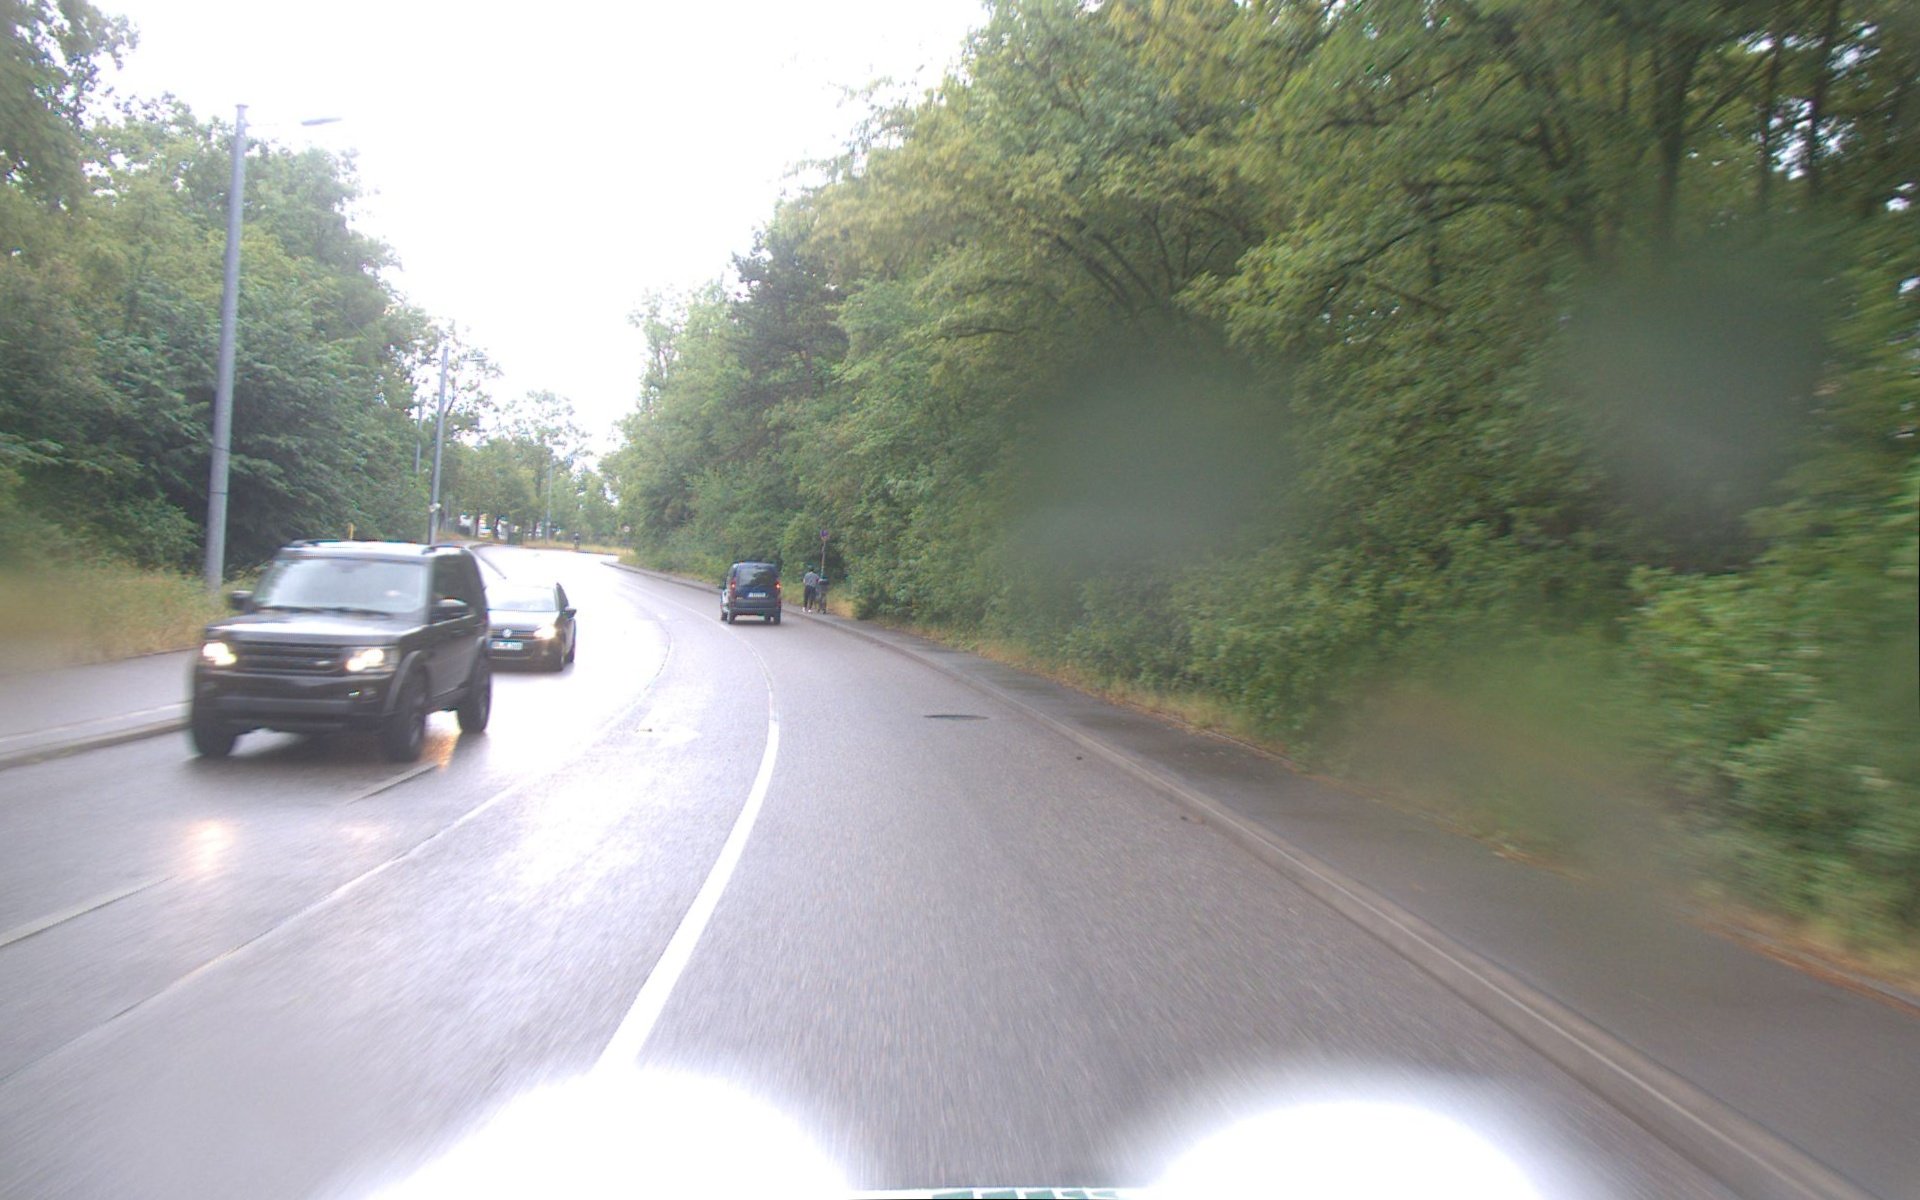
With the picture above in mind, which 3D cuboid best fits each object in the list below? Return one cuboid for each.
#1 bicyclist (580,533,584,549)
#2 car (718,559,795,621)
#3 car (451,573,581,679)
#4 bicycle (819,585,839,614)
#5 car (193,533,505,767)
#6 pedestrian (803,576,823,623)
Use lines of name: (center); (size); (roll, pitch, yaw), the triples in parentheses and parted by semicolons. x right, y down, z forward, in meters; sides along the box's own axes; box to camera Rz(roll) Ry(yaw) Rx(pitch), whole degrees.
bicyclist: (-39.066, -6.076, 171.000); (0.330, 1.601, 1.293); (1, 4, -15)
car: (-6.382, -0.307, 51.472); (1.797, 1.825, 3.983); (1, 0, -16)
car: (-7.675, 0.397, 28.883); (1.794, 1.465, 3.992); (2, 4, -10)
bicycle: (-4.470, -0.026, 56.247); (0.350, 0.863, 1.736); (-1, 3, -16)
car: (-5.611, 0.336, 15.810); (1.793, 1.875, 4.703); (1, 2, -8)
pedestrian: (-5.048, -0.025, 56.882); (0.555, 1.604, 0.766); (0, -1, -16)
